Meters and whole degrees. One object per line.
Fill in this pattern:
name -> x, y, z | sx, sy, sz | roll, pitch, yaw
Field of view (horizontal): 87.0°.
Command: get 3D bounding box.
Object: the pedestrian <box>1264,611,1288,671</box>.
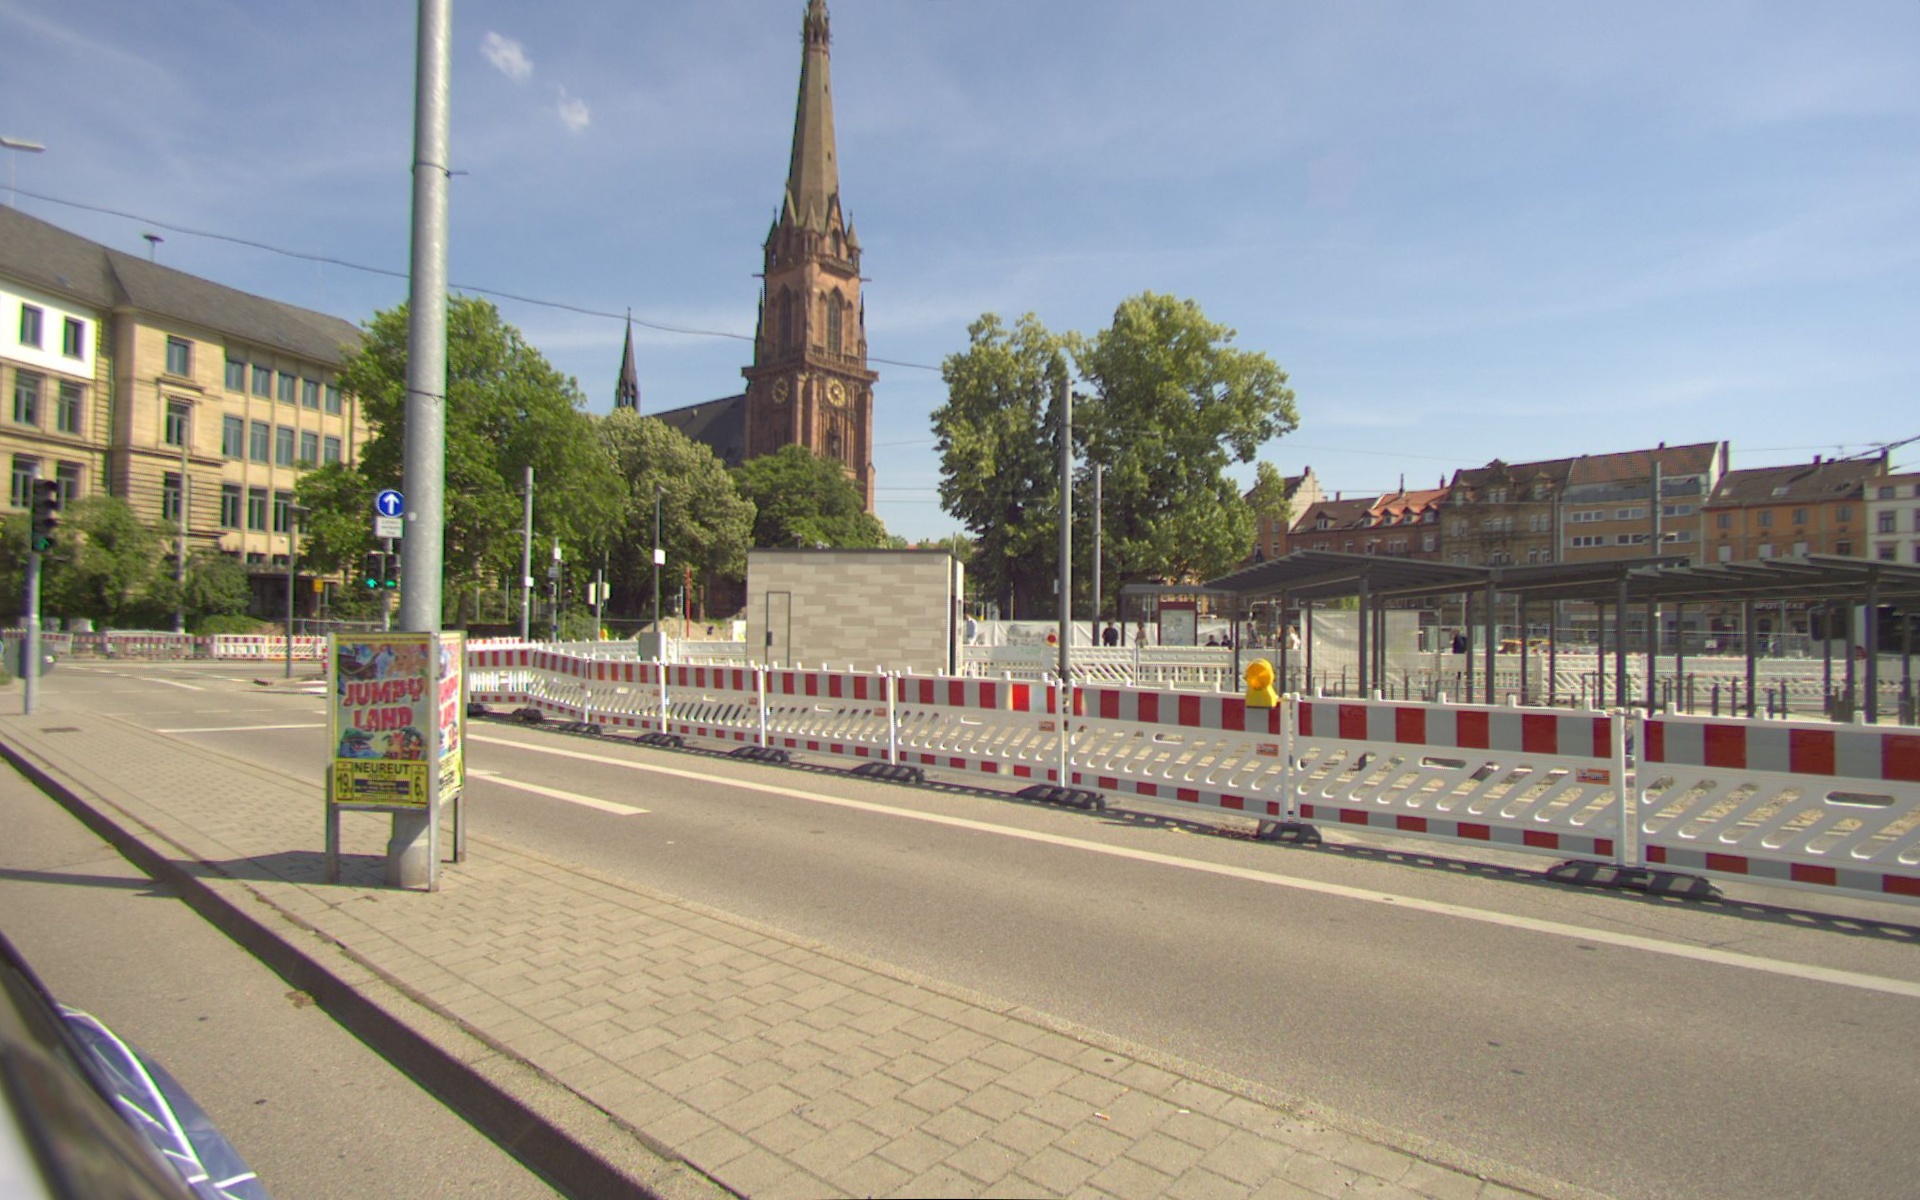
pedestrian -> 10.799, 1.401, 34.568 | 0.679, 2.029, 0.818 | 0, -2, 11

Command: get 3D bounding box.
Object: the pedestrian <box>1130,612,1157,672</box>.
pedestrian -> 6.250, 1.429, 34.483 | 0.810, 2.029, 0.685 | 1, -2, 6

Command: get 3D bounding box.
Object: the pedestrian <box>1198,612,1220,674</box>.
pedestrian -> 8.337, 1.431, 33.916 | 0.679, 2.029, 0.818 | 0, -2, 11

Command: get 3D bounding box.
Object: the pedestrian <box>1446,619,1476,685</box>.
pedestrian -> 15.672, 1.615, 31.678 | 0.680, 2.029, 0.816 | 0, -2, 16

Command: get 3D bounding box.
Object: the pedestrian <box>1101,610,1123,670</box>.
pedestrian -> 5.229, 1.376, 34.845 | 0.678, 2.029, 0.819 | 0, -2, 7

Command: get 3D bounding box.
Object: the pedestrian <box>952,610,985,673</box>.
pedestrian -> 0.270, 1.361, 33.150 | 0.686, 2.029, 0.809 | -1, -3, 43

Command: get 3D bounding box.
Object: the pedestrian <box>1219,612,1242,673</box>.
pedestrian -> 9.064, 1.417, 33.912 | 0.679, 2.029, 0.818 | 0, -2, 11

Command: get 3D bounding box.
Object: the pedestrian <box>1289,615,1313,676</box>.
pedestrian -> 11.642, 1.546, 34.553 | 0.679, 2.029, 0.818 | 0, -2, 11
